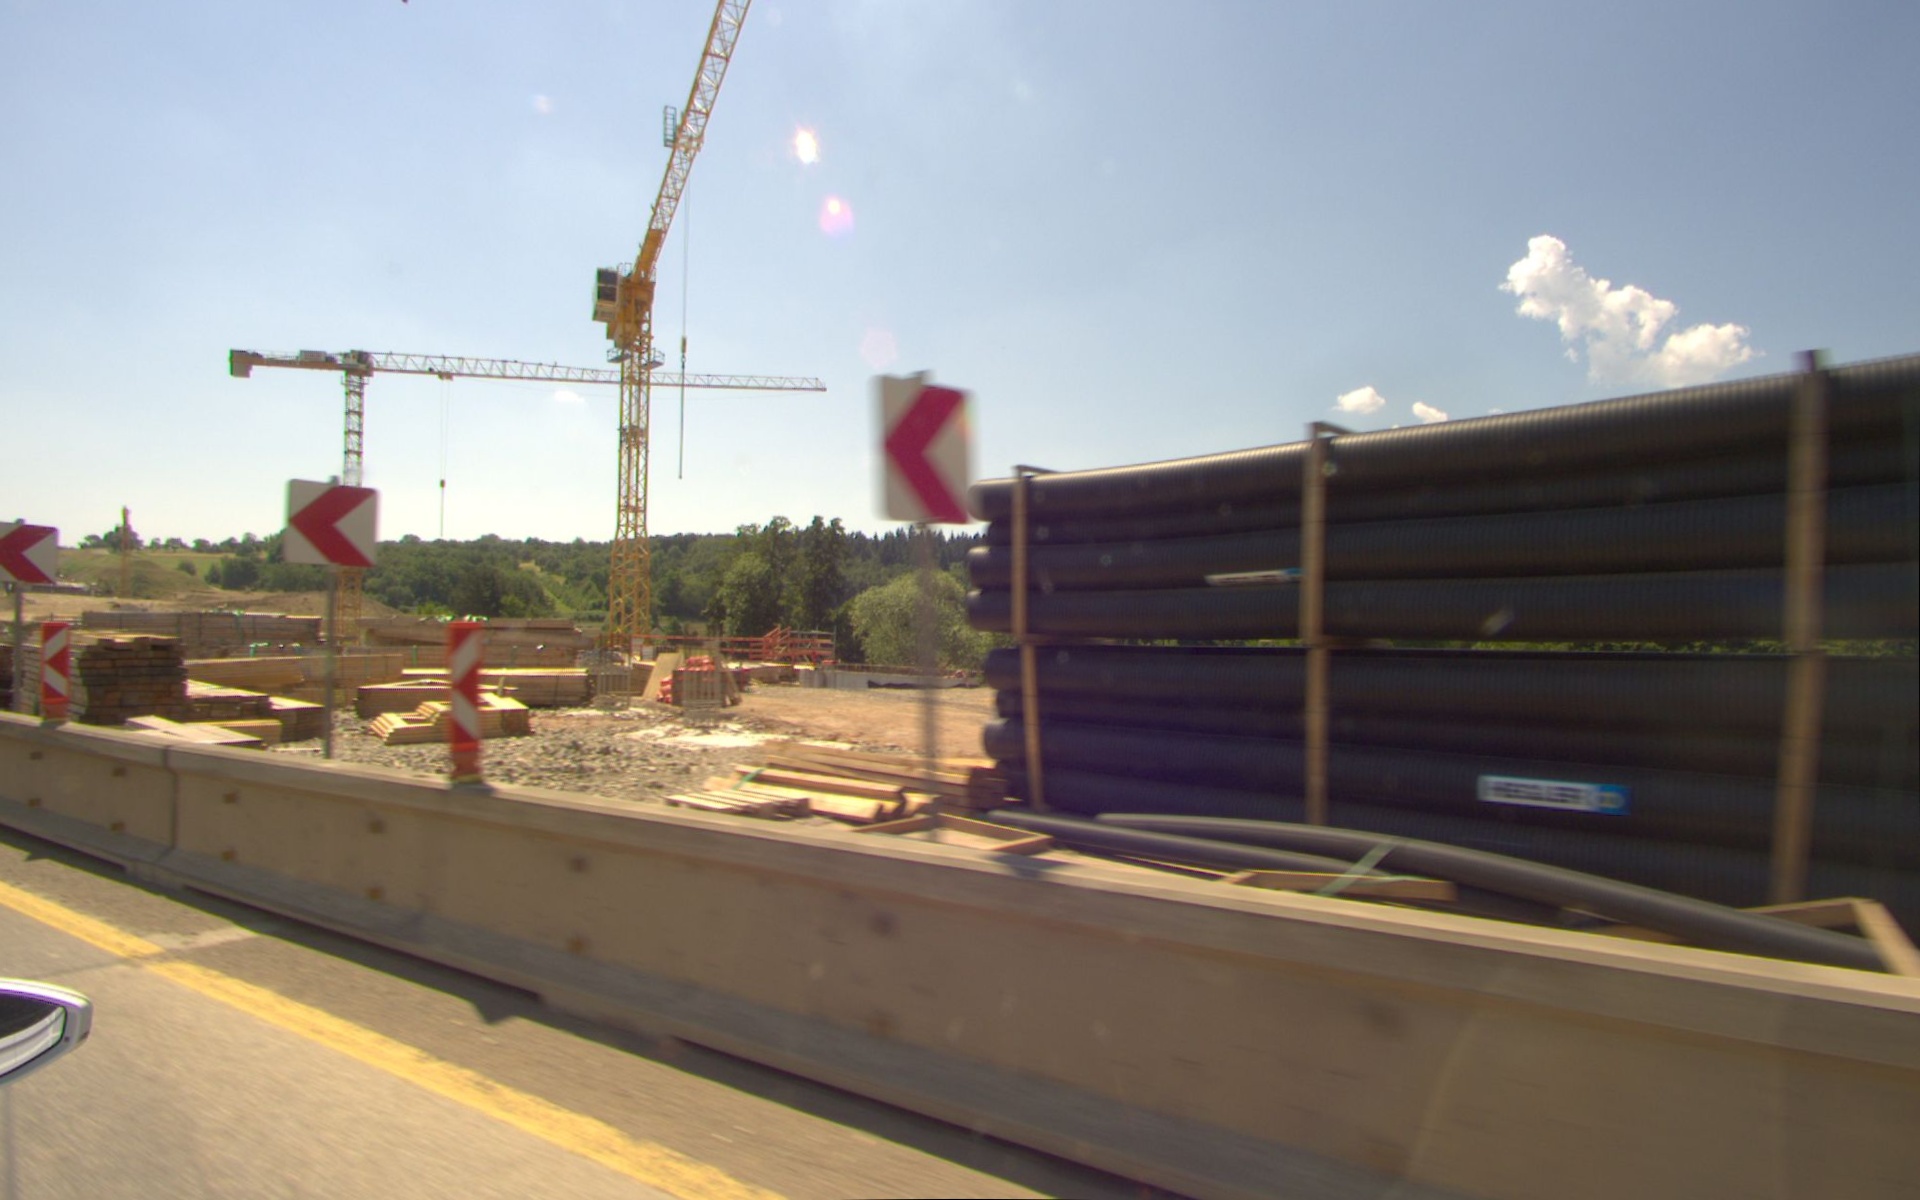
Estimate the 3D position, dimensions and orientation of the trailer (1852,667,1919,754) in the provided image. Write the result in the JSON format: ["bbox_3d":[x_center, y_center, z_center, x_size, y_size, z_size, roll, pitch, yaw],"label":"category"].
[{"bbox_3d":[18.088,1.946,17.442,3.785,1.504,1.616,-3,-4,42],"label":"trailer"}]

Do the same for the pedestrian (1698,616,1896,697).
[{"bbox_3d":[22.925,1.592,27.508,3.962,2.038,1.982,-5,-5,45],"label":"pedestrian"}]
